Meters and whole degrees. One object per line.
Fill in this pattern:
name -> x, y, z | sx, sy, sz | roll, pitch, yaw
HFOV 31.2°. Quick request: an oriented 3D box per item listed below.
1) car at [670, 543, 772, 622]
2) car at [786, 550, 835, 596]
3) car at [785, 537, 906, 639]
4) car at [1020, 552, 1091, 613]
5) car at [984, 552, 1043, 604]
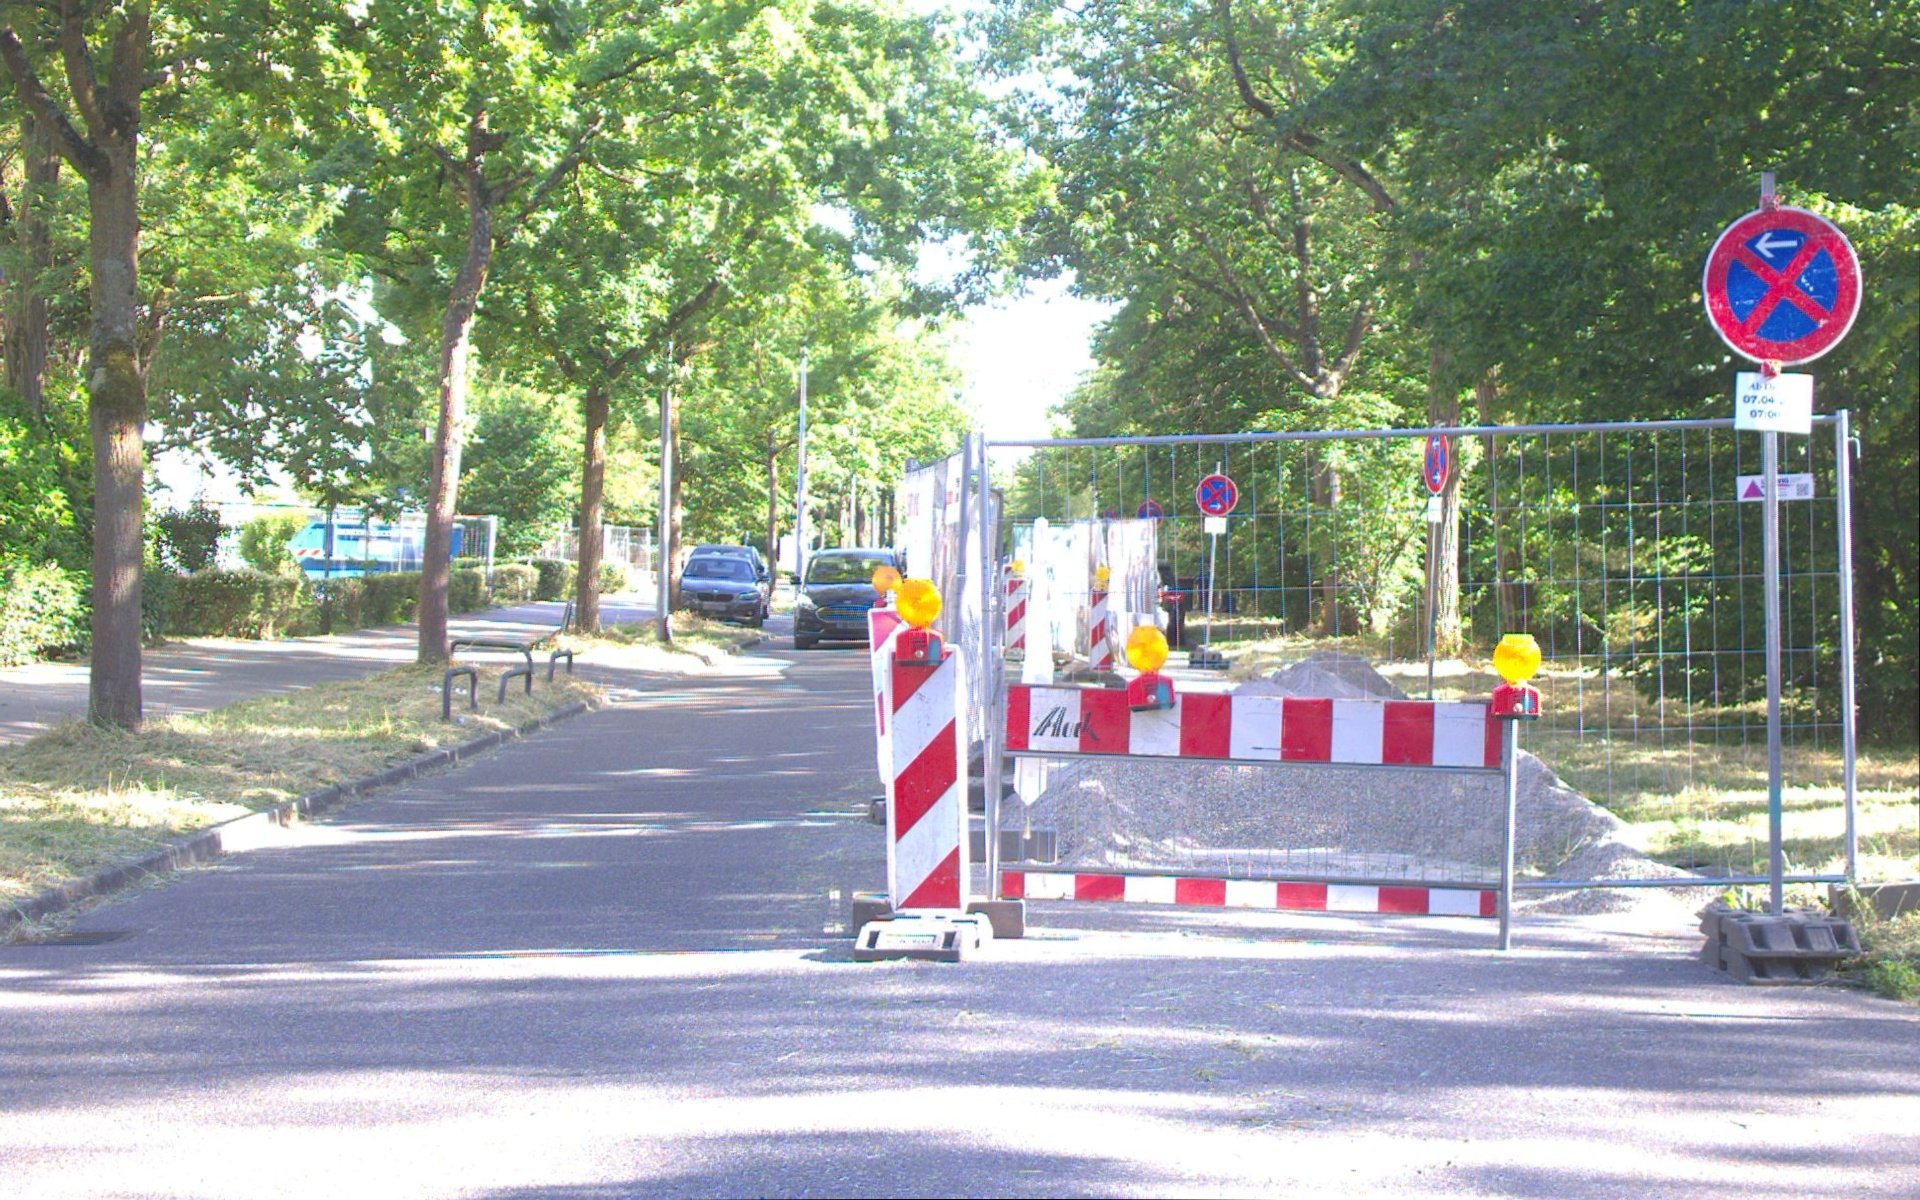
car -> -4.701, -0.364, 67.925 | 1.751, 1.473, 3.836 | 1, 1, -1
car -> -4.470, -0.804, 103.243 | 1.361, 1.298, 3.481 | 2, 0, -2
car -> -1.887, -0.225, 57.936 | 1.821, 1.619, 4.492 | -1, 1, 1
car -> 2.135, -0.388, 77.613 | 1.361, 1.298, 3.481 | 2, 0, -2
car -> 1.393, -0.576, 90.594 | 1.361, 1.298, 3.481 | 2, 0, -2
